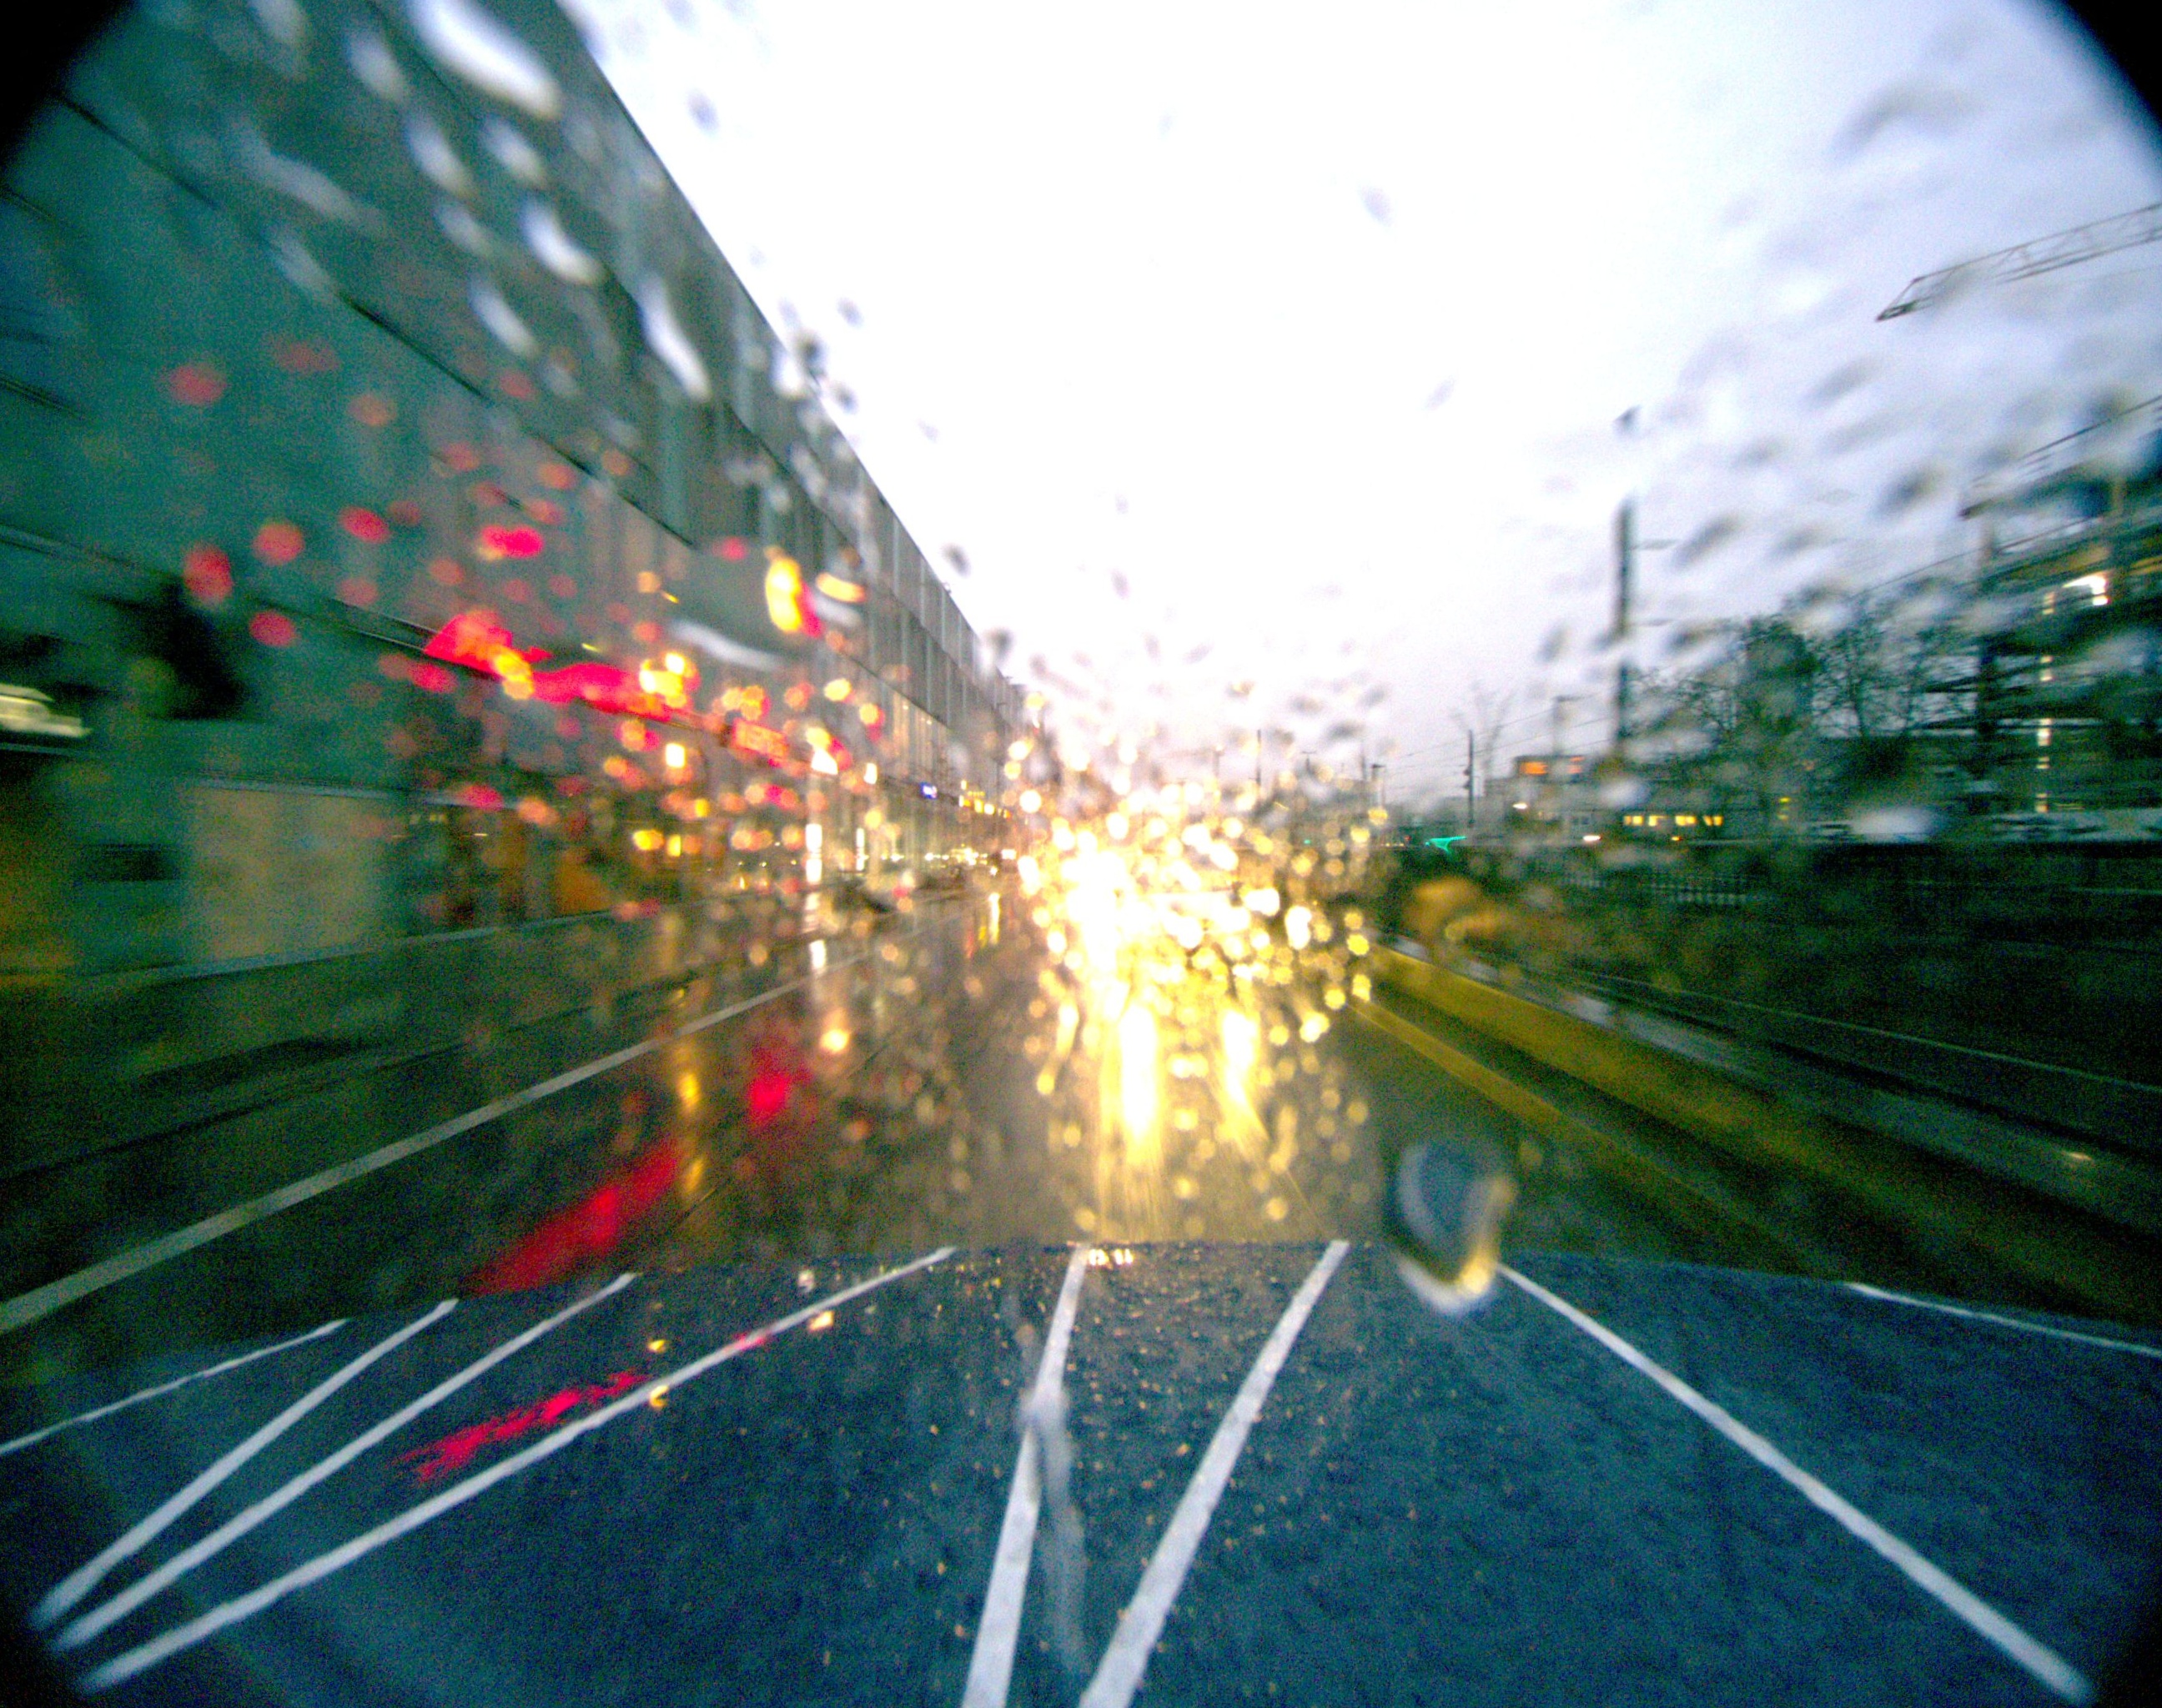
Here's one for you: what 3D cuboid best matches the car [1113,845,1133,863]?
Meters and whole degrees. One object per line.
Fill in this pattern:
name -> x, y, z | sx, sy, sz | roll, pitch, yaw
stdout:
car -> 4.130, -0.034, 74.341 | 1.867, 1.652, 3.987 | -1, 1, 3

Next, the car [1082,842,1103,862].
car -> 1.230, -0.263, 78.358 | 1.998, 2.002, 4.000 | -1, 1, 3

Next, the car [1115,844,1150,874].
car -> 3.134, 0.253, 46.129 | 1.998, 1.673, 4.001 | -1, 1, 4

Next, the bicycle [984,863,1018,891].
bicycle -> -3.213, 0.908, 30.593 | 0.945, 0.993, 2.241 | -1, 1, 4

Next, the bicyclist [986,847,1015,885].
bicyclist -> -3.224, 0.469, 30.508 | 0.945, 1.454, 1.066 | -1, 1, 4

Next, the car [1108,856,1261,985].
car -> 1.413, 0.818, 11.264 | 1.813, 1.464, 4.140 | -1, 1, 5

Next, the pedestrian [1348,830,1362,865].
pedestrian -> 13.591, -0.321, 37.713 | 0.585, 1.692, 0.741 | -1, 1, 14

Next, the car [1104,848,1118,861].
car -> 4.203, 0.073, 104.572 | 1.867, 1.652, 3.987 | -1, 1, 3

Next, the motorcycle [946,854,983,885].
motorcycle -> -5.382, 0.705, 35.085 | 1.904, 1.326, 0.597 | 1, 3, 43

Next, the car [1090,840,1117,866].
car -> 1.775, -0.119, 57.948 | 1.864, 1.867, 4.000 | -1, 1, 4

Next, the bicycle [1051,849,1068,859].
bicycle -> -2.519, 0.013, 88.408 | 1.907, 1.168, 0.667 | 1, 1, 2
